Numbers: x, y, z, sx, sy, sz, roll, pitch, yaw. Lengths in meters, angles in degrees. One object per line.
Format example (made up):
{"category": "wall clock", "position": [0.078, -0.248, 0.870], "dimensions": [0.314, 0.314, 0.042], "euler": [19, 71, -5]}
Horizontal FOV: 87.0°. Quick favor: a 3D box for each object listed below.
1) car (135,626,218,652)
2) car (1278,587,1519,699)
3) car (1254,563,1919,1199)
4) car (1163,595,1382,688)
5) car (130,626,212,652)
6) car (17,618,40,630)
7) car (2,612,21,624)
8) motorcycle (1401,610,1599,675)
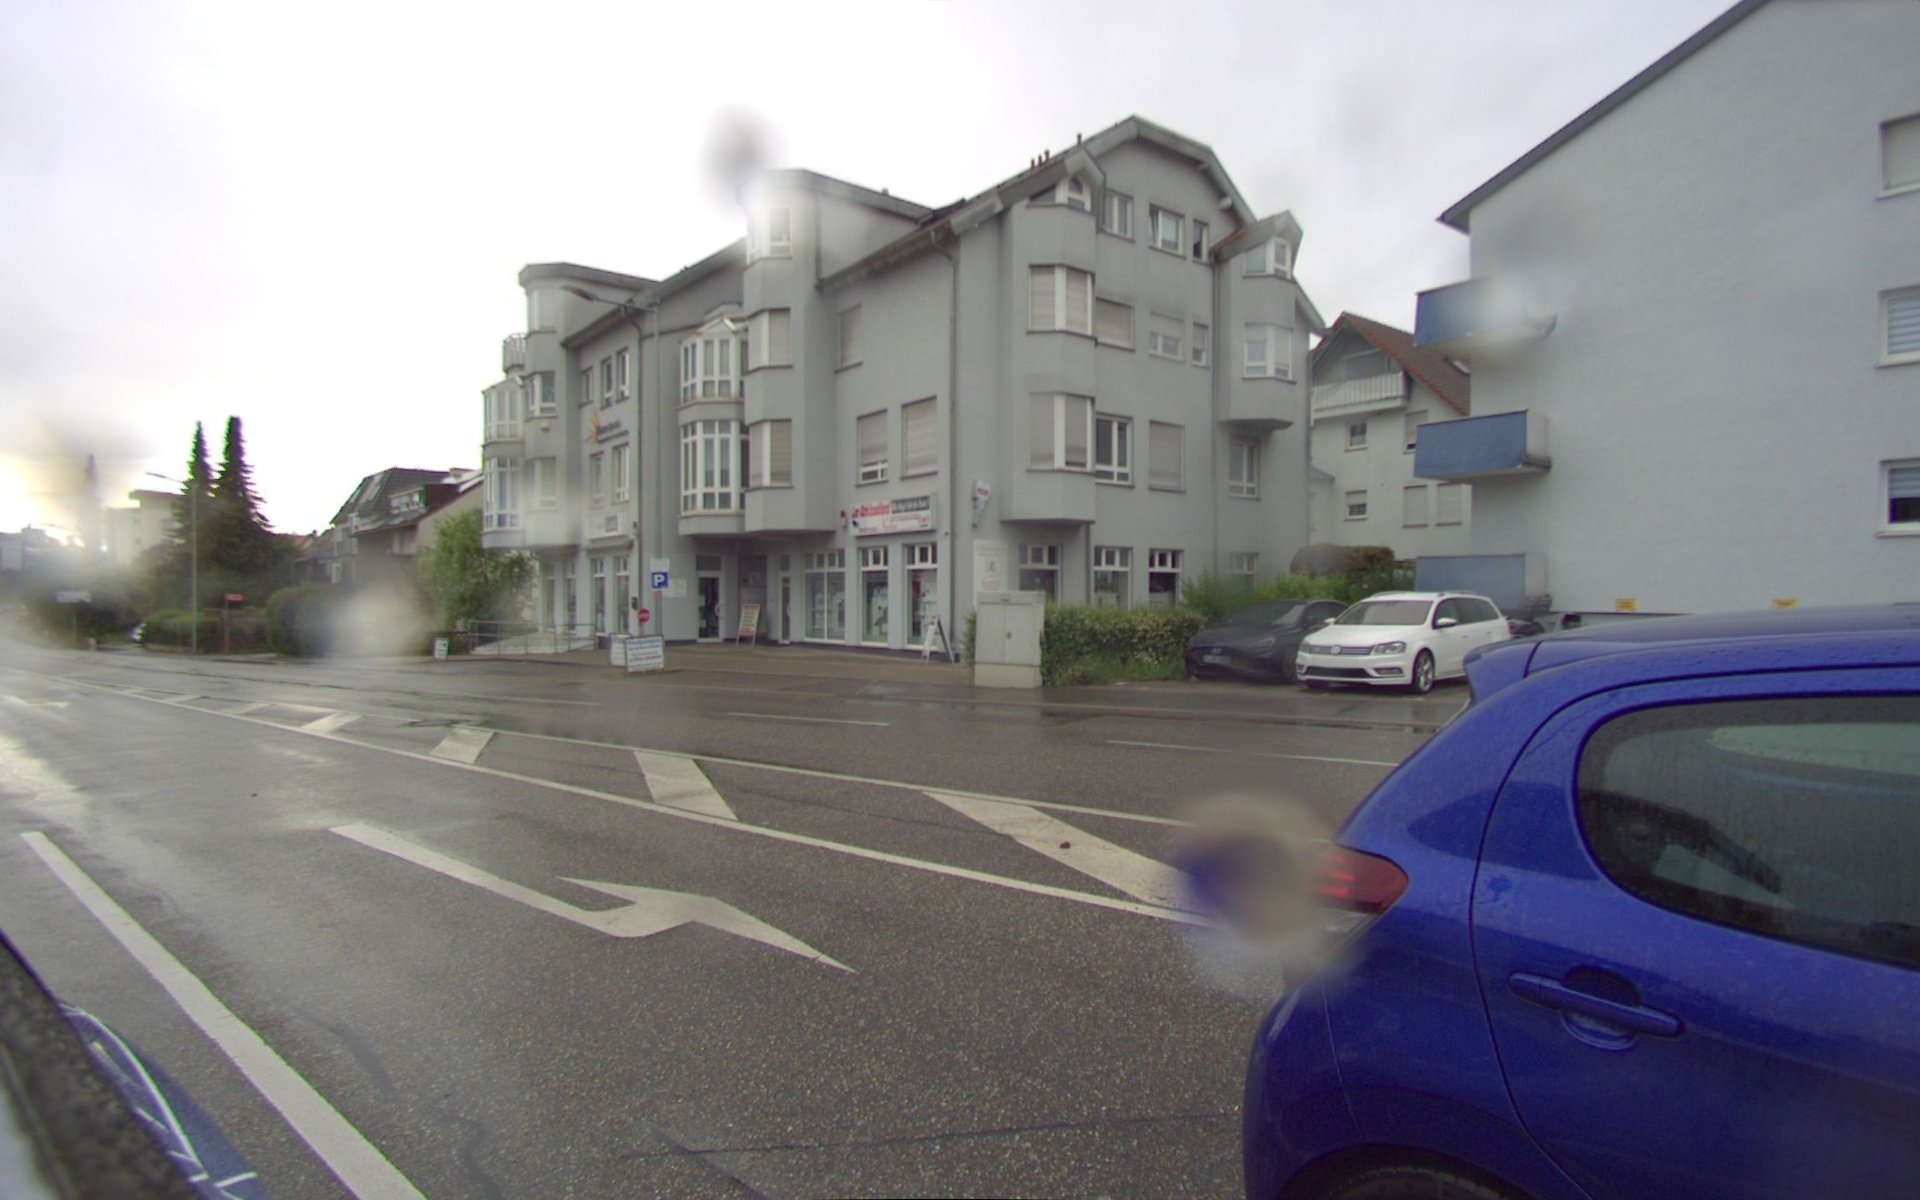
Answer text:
{"category": "car", "position": [-49.618, 2.458, 64.116], "dimensions": [3.978, 1.453, 1.814], "euler": [-2, 0, -44]}
{"category": "car", "position": [6.858, 0.588, 15.617], "dimensions": [4.169, 1.485, 1.906], "euler": [0, -1, -43]}
{"category": "car", "position": [2.251, 0.635, 1.226], "dimensions": [3.269, 1.421, 1.562], "euler": [-2, 0, 42]}
{"category": "car", "position": [5.482, 0.656, 17.537], "dimensions": [3.940, 1.421, 1.906], "euler": [0, -1, -43]}
{"category": "car", "position": [-51.351, 2.528, 65.908], "dimensions": [4.096, 1.453, 1.892], "euler": [-2, 0, -42]}
{"category": "car", "position": [-124.311, 3.203, 135.097], "dimensions": [1.968, 1.628, 4.008], "euler": [0, -1, -38]}
{"category": "car", "position": [-148.767, 2.831, 158.746], "dimensions": [1.824, 1.777, 4.129], "euler": [0, -1, -39]}
{"category": "motorcycle", "position": [9.779, 0.776, 18.524], "dimensions": [3.112, 1.108, 0.869], "euler": [-2, -1, 25]}
